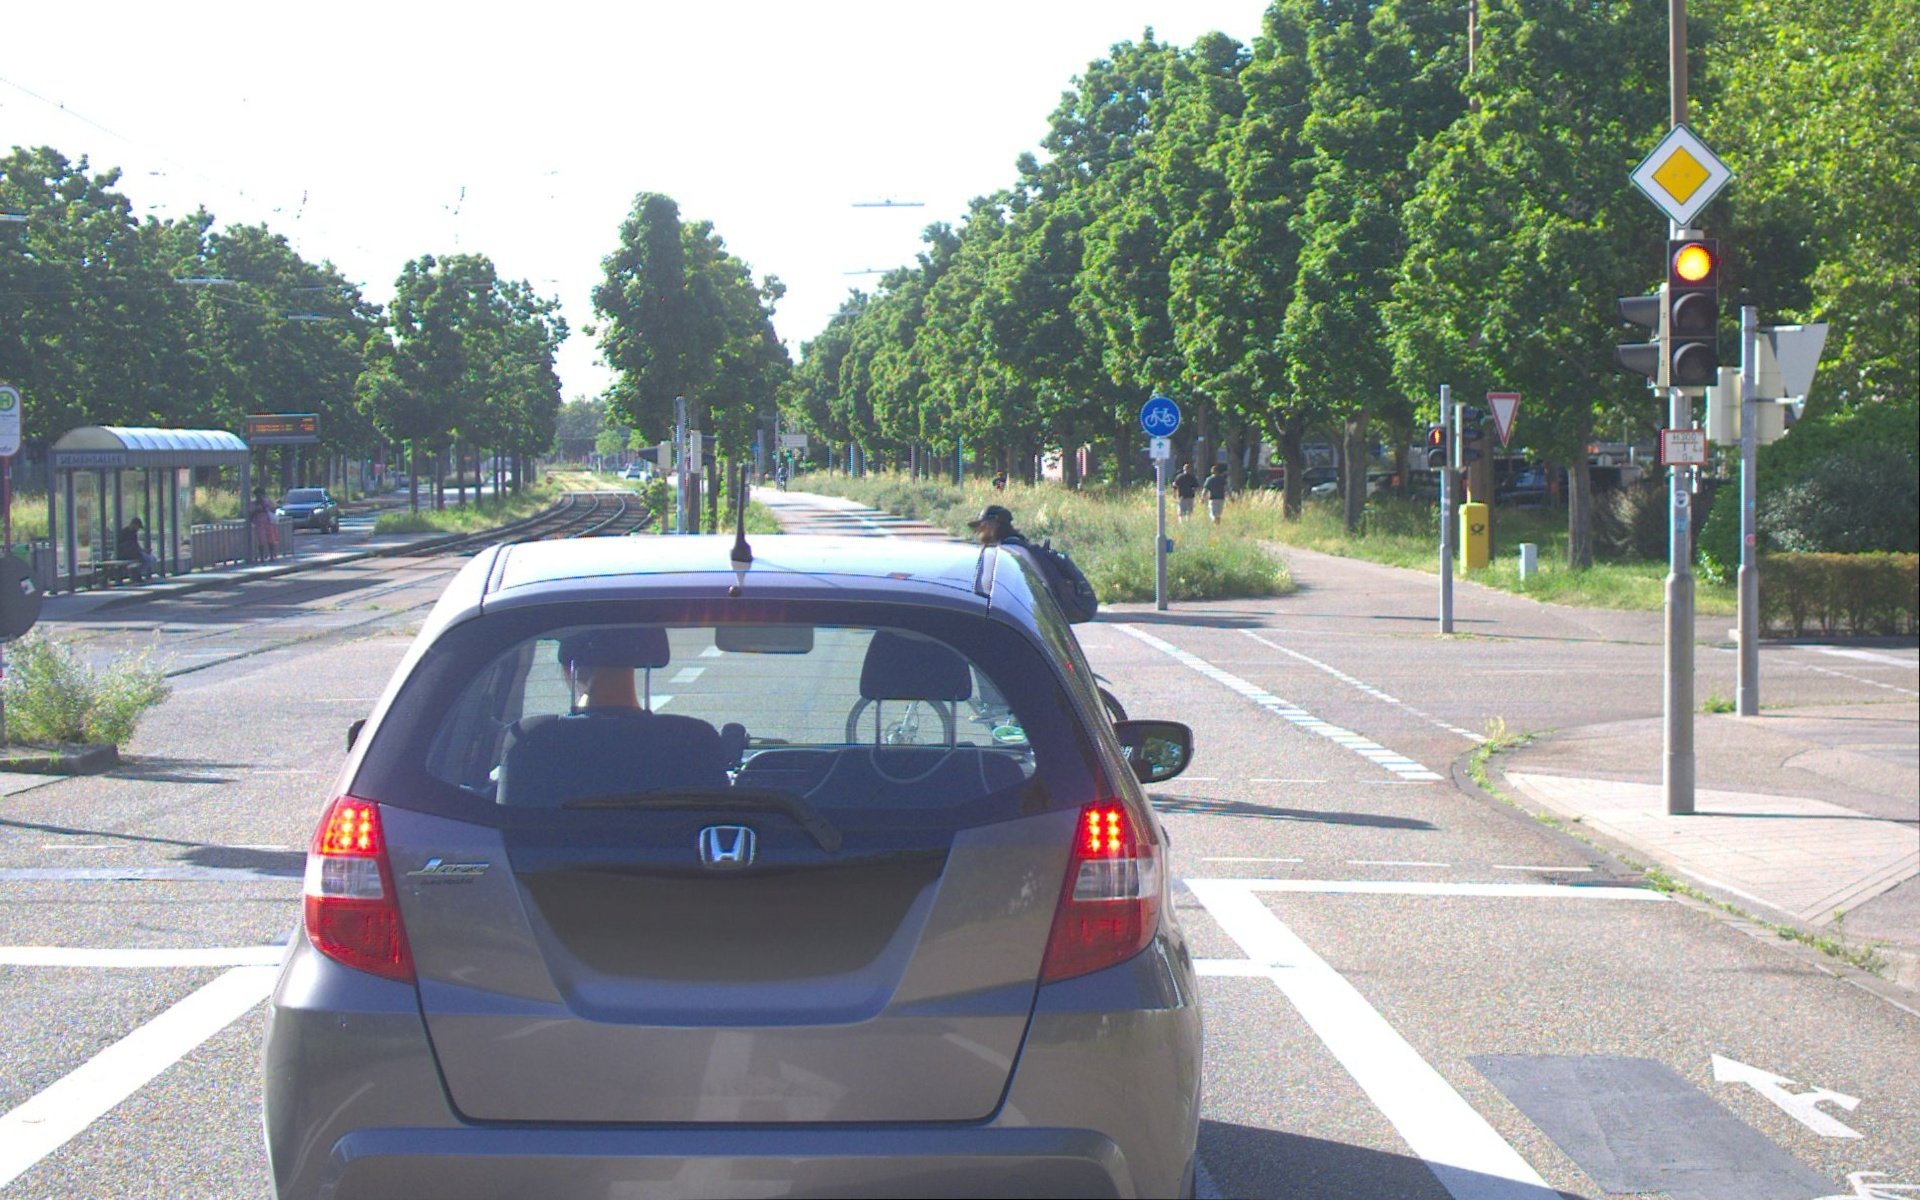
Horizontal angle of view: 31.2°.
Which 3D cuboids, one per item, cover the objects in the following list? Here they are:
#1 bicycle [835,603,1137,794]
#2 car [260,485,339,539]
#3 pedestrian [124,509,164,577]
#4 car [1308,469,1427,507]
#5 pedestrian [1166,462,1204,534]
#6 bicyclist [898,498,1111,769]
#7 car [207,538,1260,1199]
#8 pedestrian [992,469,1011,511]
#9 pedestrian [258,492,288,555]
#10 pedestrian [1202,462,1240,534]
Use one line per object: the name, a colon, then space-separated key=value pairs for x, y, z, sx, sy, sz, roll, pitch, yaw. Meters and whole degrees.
bicycle: x=0.145 y=0.583 z=20.624 sx=1.775 sy=1.098 sz=0.699 roll=0 pitch=1 yaw=-1
car: x=-23.990 y=-3.215 z=124.991 sx=2.093 sy=1.803 sz=4.794 roll=-2 pitch=3 yaw=-3
pedestrian: x=-15.551 y=-1.088 z=65.530 sx=0.563 sy=1.252 sz=0.581 roll=-3 pitch=1 yaw=-1
car: x=17.128 y=-4.716 z=144.532 sx=4.630 sy=1.550 sz=2.001 roll=-1 pitch=2 yaw=-6
pedestrian: x=5.942 y=-2.698 z=90.749 sx=0.882 sy=1.877 sz=0.875 roll=-1 pitch=2 yaw=-4
bicyclist: x=0.254 y=0.190 z=20.604 sx=1.232 sy=1.588 sz=0.805 roll=0 pitch=1 yaw=-1
car: x=-0.390 y=0.634 z=7.437 sx=1.701 sy=1.518 sz=3.710 roll=0 pitch=1 yaw=-1
pedestrian: x=1.679 y=-4.444 z=139.049 sx=0.725 sy=1.685 sz=0.821 roll=0 pitch=-1 yaw=-3
pedestrian: x=-16.004 y=-1.783 z=80.083 sx=0.544 sy=1.442 sz=0.559 roll=-1 pitch=1 yaw=-1
pedestrian: x=6.882 y=-2.685 z=90.766 sx=0.882 sy=1.877 sz=0.875 roll=-1 pitch=2 yaw=-4
